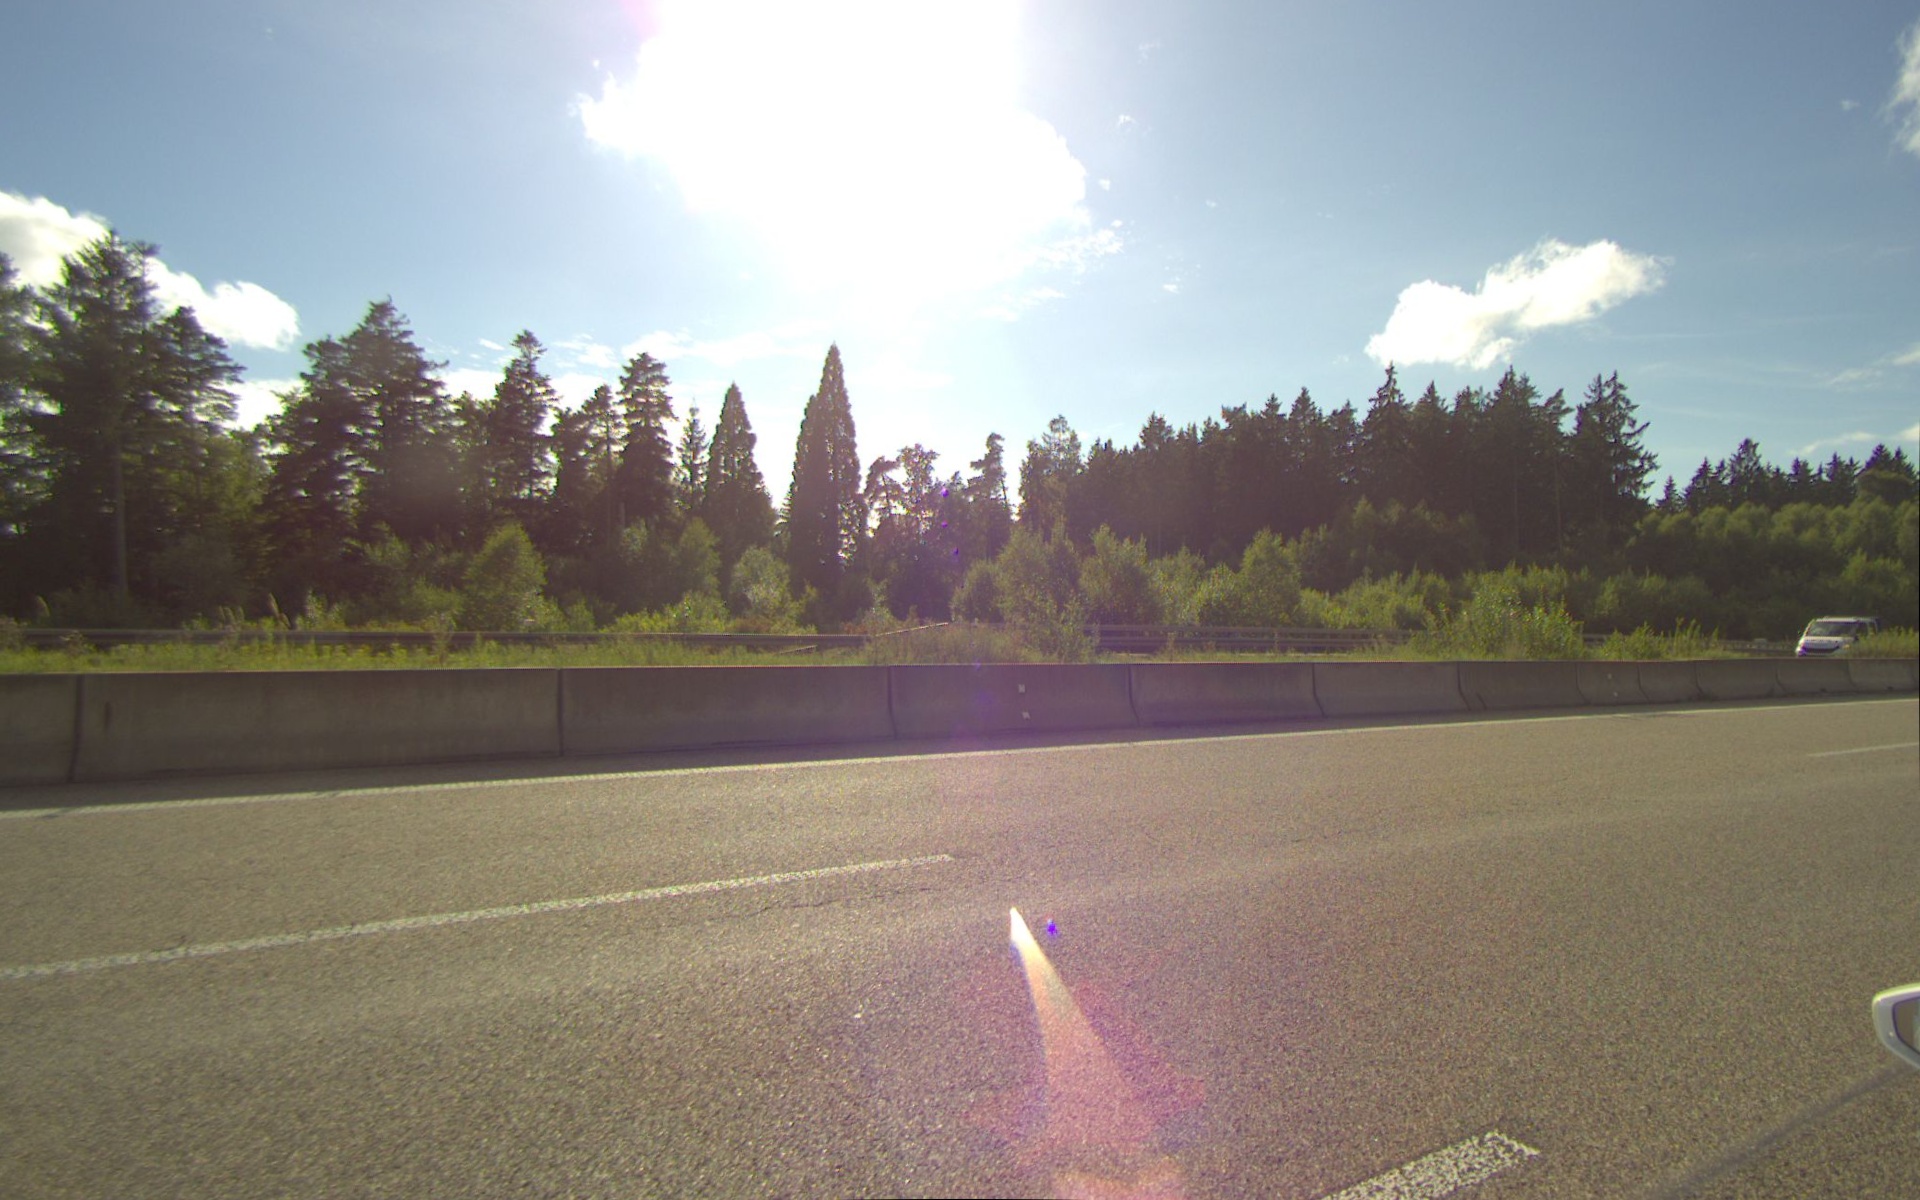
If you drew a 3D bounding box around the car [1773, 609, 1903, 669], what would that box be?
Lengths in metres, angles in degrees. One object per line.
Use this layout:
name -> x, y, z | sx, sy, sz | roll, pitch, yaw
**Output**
car -> 38.761, 1.716, 44.311 | 6.118, 2.349, 2.299 | 2, 3, -30
